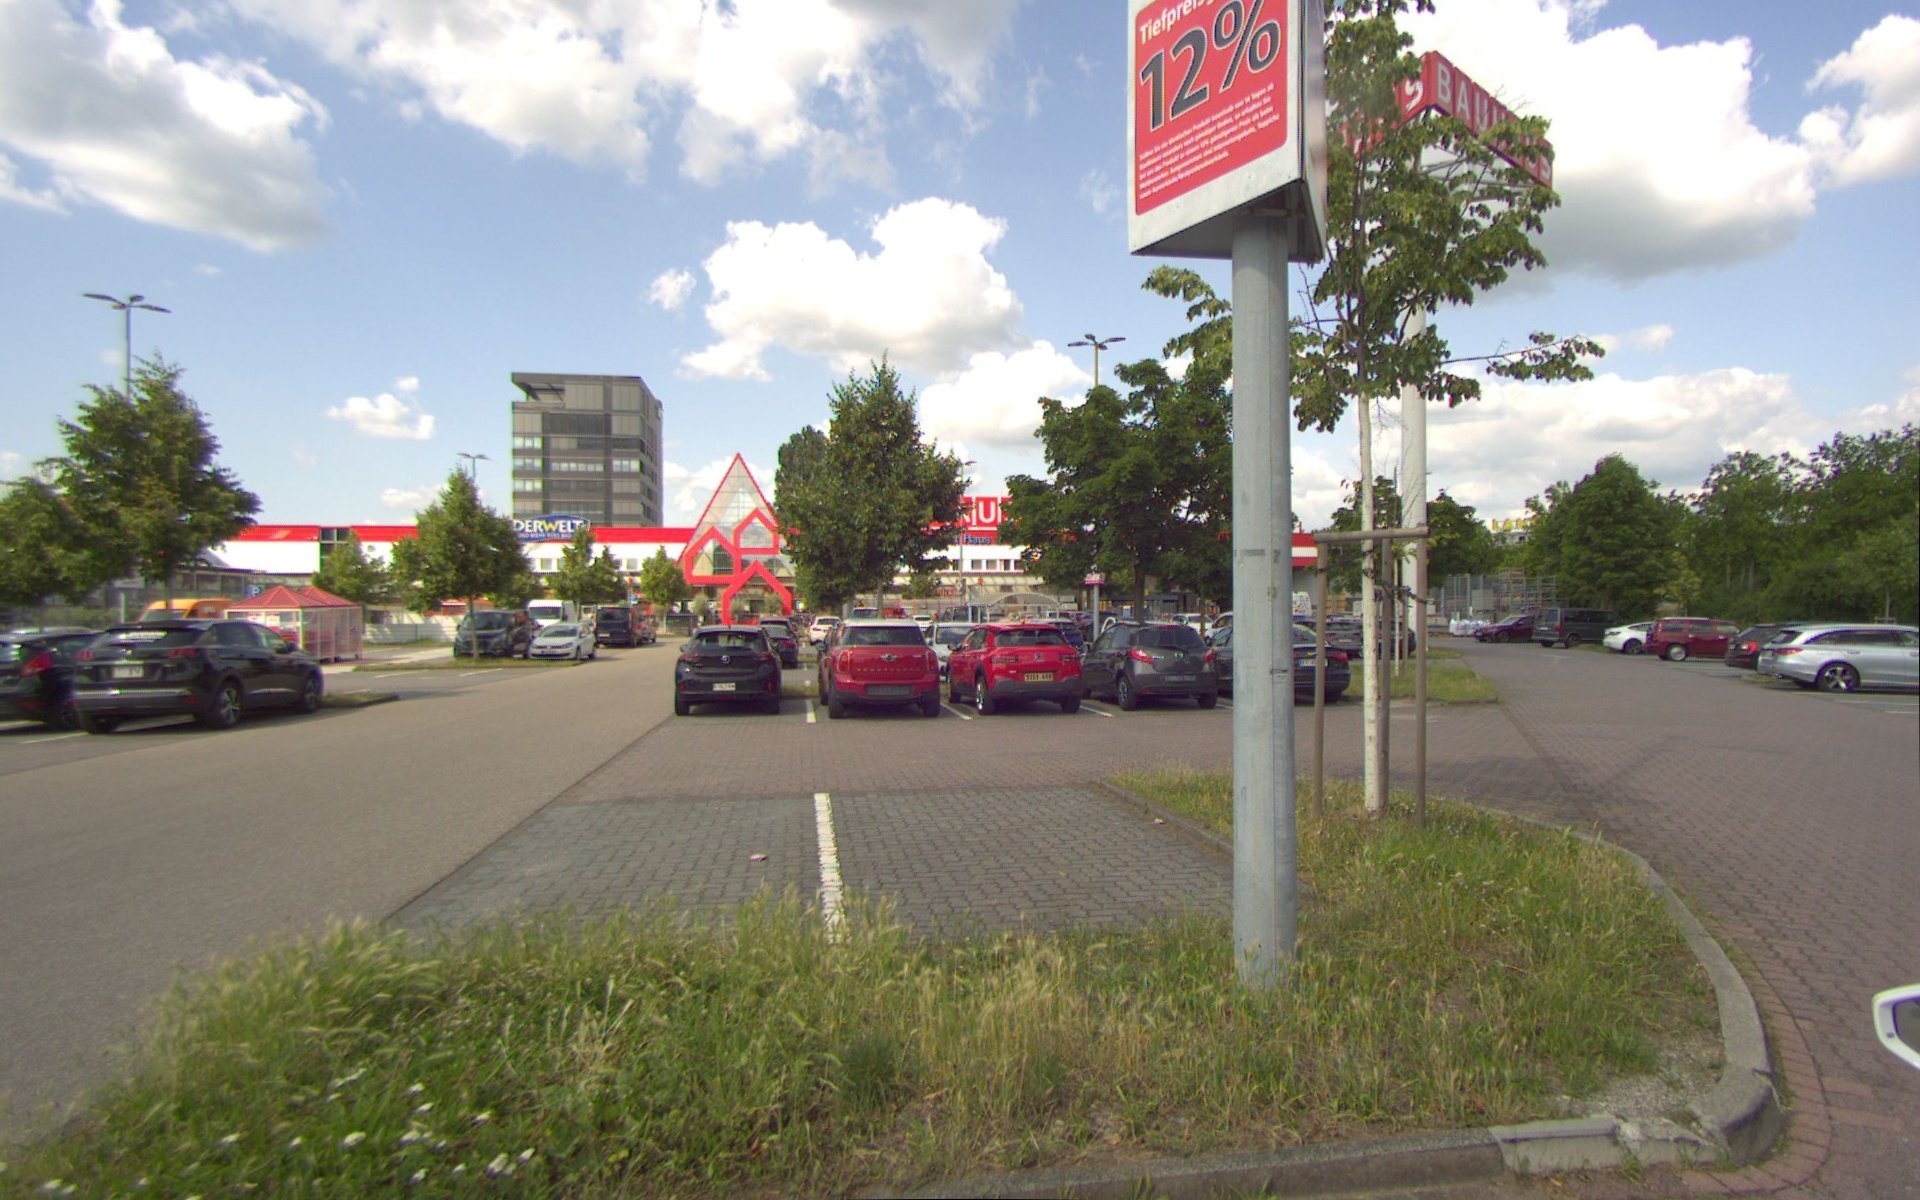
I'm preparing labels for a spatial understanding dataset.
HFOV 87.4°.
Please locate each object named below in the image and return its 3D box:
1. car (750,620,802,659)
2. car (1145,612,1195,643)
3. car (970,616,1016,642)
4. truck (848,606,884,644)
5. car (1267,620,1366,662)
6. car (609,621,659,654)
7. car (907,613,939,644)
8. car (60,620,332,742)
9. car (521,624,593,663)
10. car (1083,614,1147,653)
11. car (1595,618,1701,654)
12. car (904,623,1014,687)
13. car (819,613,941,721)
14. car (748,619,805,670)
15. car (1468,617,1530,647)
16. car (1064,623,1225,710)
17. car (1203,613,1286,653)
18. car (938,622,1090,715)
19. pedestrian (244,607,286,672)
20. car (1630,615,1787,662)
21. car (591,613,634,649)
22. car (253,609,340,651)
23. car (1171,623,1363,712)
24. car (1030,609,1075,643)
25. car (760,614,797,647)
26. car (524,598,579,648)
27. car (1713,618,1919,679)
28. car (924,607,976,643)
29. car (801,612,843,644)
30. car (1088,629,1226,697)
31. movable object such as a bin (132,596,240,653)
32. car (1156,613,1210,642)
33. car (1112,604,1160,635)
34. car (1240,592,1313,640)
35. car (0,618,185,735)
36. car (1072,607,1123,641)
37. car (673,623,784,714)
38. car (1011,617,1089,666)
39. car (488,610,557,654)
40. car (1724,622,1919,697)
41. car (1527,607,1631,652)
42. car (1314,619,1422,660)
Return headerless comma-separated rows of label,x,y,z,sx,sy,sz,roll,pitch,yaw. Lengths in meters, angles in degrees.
car,-7.444,1.548,40.873,1.964,1.487,4.409,0,-1,-10
car,14.723,1.904,70.647,1.965,2.040,3.991,3,-2,-12
car,1.856,1.668,57.669,1.713,1.357,3.457,3,-2,-14
truck,-5.589,1.467,59.052,1.826,2.040,5.402,3,-2,-7
car,13.096,1.480,37.111,1.695,1.466,3.764,0,-1,-13
car,-17.831,2.024,55.099,1.964,1.652,3.994,3,-2,-10
car,-2.605,1.988,70.399,1.962,2.040,3.998,3,-2,-4
car,-11.733,1.145,15.819,1.752,1.646,4.077,0,-1,-11
car,-15.524,1.643,38.901,1.711,1.405,3.558,0,-1,-7
car,6.796,1.433,44.347,1.688,1.617,3.994,0,-1,-9
car,29.903,1.553,43.755,3.576,1.487,1.633,0,-2,25
car,-0.128,1.252,24.302,1.861,1.371,4.272,0,-1,-12
car,-1.440,1.041,16.927,1.679,1.602,3.440,0,-1,-11
car,-6.096,1.457,33.676,1.668,1.624,3.218,0,-1,-7
car,29.083,1.719,54.227,2.637,1.450,1.354,3,-2,-1
car,3.223,1.124,18.375,1.551,1.387,3.992,0,-1,-11
car,12.230,1.404,43.388,1.876,1.617,3.992,0,-1,-11
car,0.818,1.104,17.754,1.735,1.417,4.080,0,-1,-11
pedestrian,-22.240,1.257,32.169,0.803,2.040,0.913,0,-1,-11
car,27.251,1.373,36.760,4.238,1.617,1.999,-1,-1,24
car,-17.020,1.526,49.253,1.668,1.635,2.650,3,-2,-14
car,-34.909,1.577,53.005,1.964,2.040,4.800,3,-2,-9
car,5.664,1.184,19.190,1.739,1.451,4.537,0,-1,-8
car,4.951,1.401,54.240,1.573,1.766,3.161,-1,-1,-10
car,-9.157,1.549,50.588,1.698,1.528,3.231,3,-2,-11
car,-22.971,1.301,56.613,2.201,2.671,4.318,1,-1,-14
car,22.108,1.233,25.972,3.924,1.399,1.698,1,-2,24
car,-0.567,1.308,52.649,1.965,1.802,3.991,0,-1,-12
car,-7.164,1.422,51.851,1.964,1.529,3.992,0,-1,-11
car,4.535,1.425,23.795,1.762,1.369,4.058,3,-2,-11
movable object such as a bin,-36.665,1.146,47.766,2.094,2.527,5.322,0,-1,-14
car,12.088,1.491,54.584,1.515,1.423,3.619,3,-2,-10
car,12.345,1.406,70.791,1.965,2.040,3.992,3,-2,-12
car,17.649,0.850,56.294,2.016,2.543,4.721,1,0,-9
car,-14.233,1.114,15.903,1.754,1.646,3.696,0,-1,-14
car,7.376,1.265,54.158,1.733,1.546,3.463,-1,2,-10
car,-4.017,1.114,17.759,1.698,1.387,3.876,0,-1,-11
car,3.136,1.442,35.739,1.722,1.636,3.716,0,-1,-13
car,-21.300,1.522,49.062,1.963,2.040,3.996,0,-1,-7
car,19.548,1.254,21.670,4.566,1.524,1.783,-1,-1,25
car,30.369,1.463,49.359,3.980,2.045,1.946,2,-2,-5
car,15.470,1.452,38.309,1.796,1.458,4.081,0,-1,-13
